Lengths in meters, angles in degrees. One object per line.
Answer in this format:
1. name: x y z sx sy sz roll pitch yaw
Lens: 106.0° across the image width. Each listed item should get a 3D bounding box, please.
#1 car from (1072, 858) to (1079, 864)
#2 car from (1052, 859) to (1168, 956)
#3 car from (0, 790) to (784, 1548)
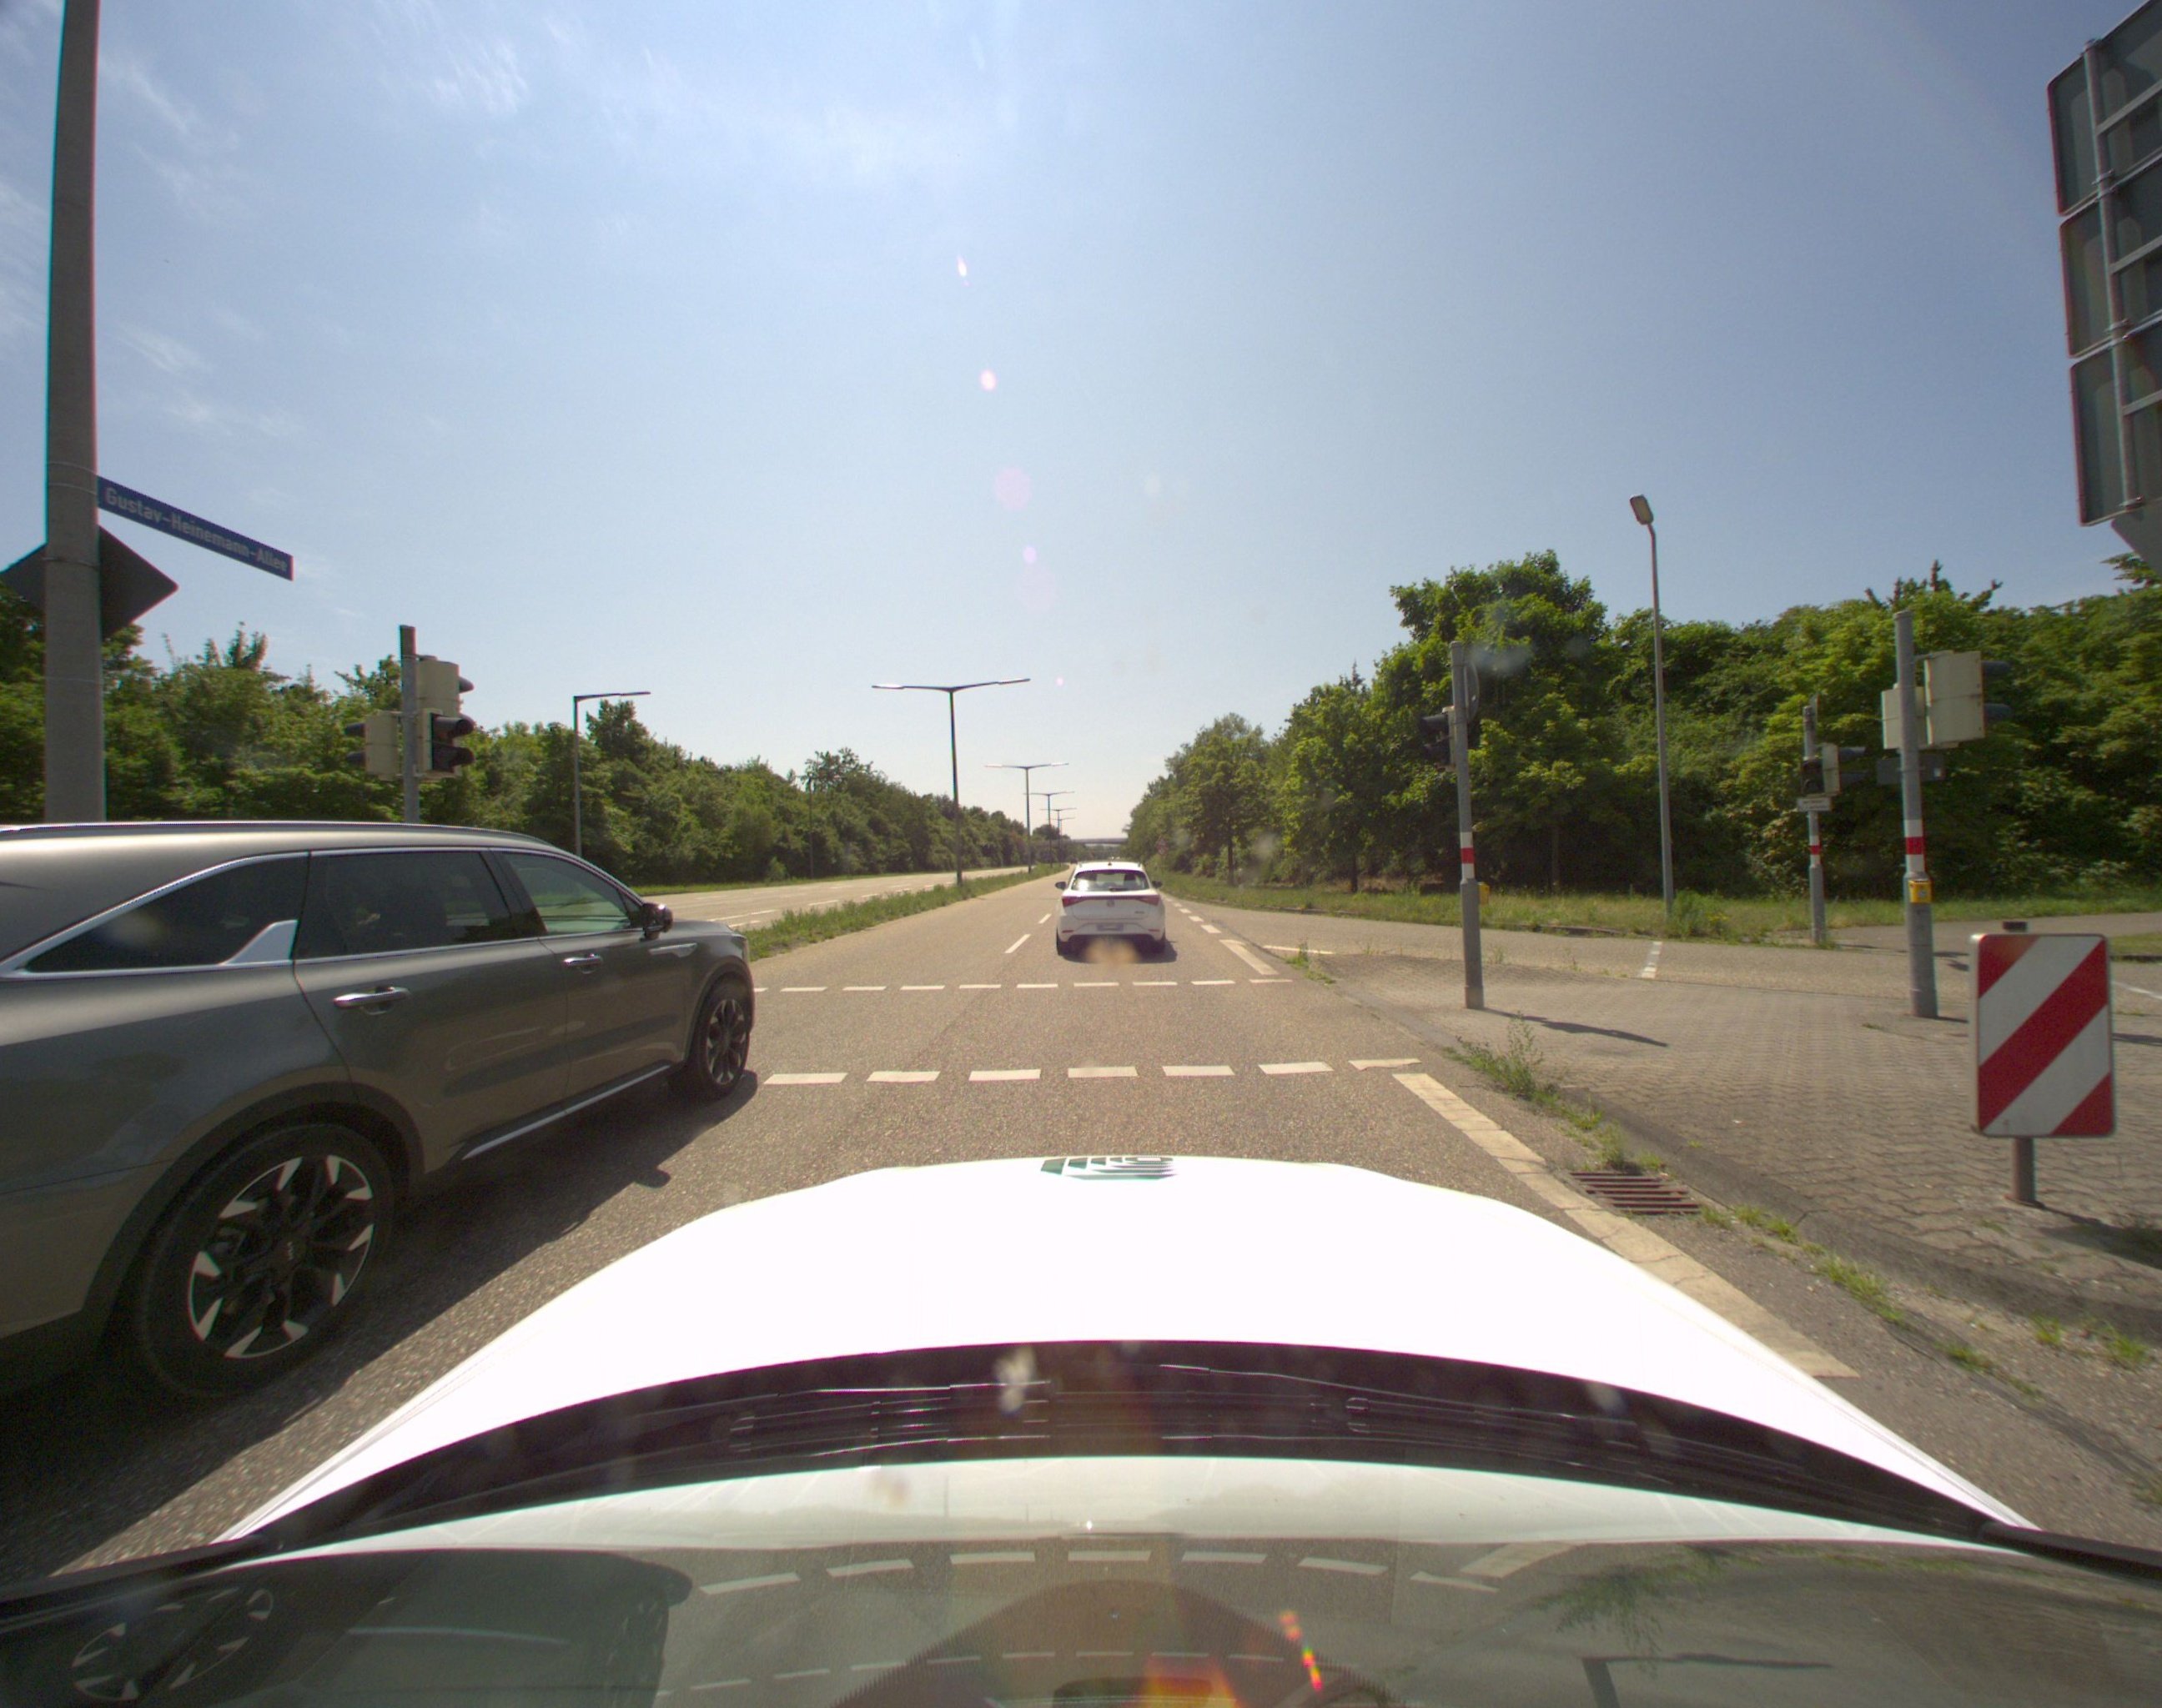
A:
1. car: -1.535 2.077 232.911 1.847 1.709 4.003 -3 0 3
2. car: 0.515 0.816 13.926 1.727 1.428 3.696 0 -1 3
3. car: -3.198 0.724 3.666 1.796 1.662 4.647 -1 0 3
